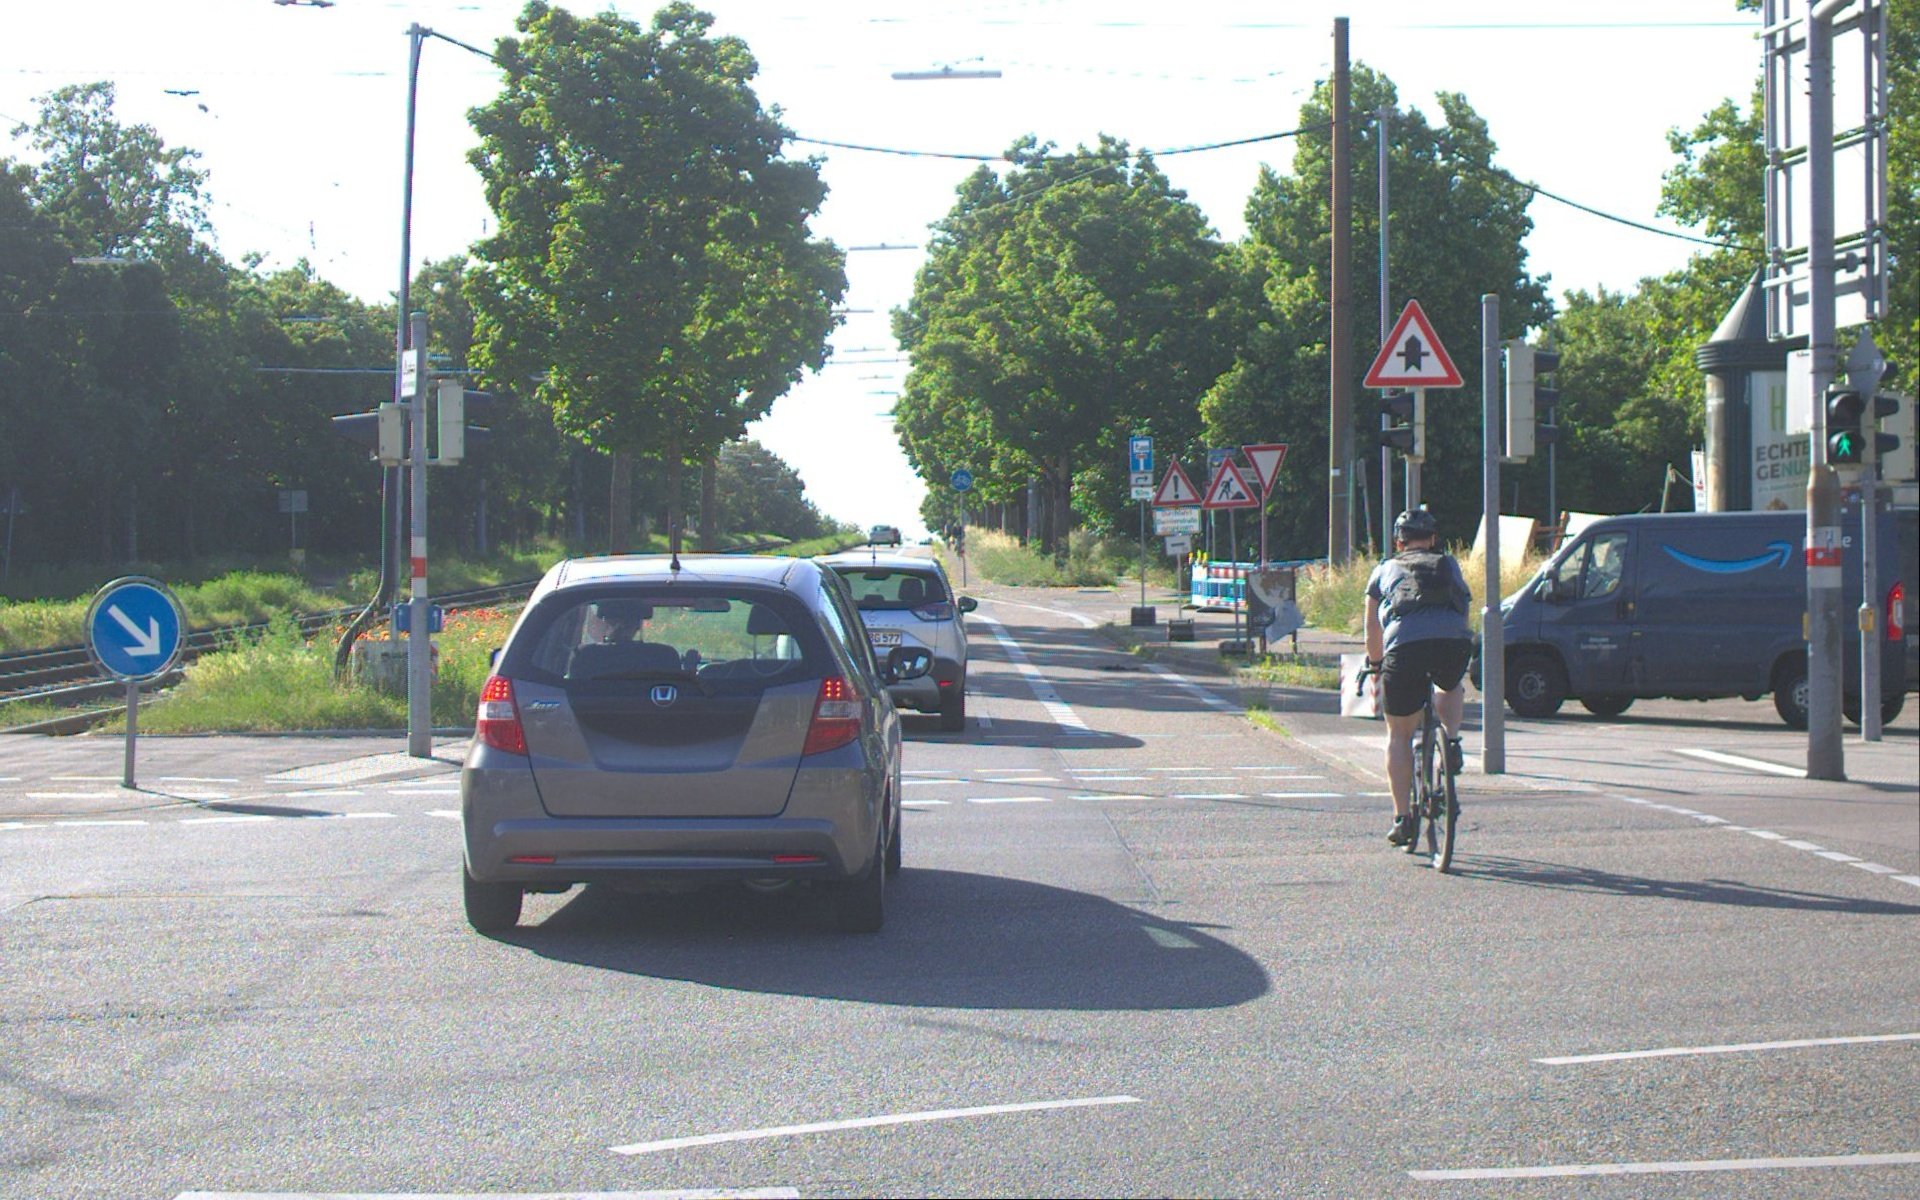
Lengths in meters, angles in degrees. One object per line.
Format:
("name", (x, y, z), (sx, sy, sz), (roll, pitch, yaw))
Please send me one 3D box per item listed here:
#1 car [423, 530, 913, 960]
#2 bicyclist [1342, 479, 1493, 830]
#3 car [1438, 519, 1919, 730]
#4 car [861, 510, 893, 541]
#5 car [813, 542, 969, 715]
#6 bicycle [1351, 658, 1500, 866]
("car", (-1.122, 0.506, 14.708), (1.671, 1.510, 3.674), (2, 2, 1))
("bicyclist", (2.237, 0.260, 16.887), (0.615, 1.674, 0.933), (0, 0, 1))
("car", (7.797, 0.219, 35.963), (5.112, 2.063, 2.127), (0, 0, 32))
("car", (-5.521, -4.963, 229.015), (1.993, 2.007, 4.000), (0, 1, 1))
("car", (-0.602, 0.242, 31.834), (1.351, 1.522, 3.123), (0, 0, 1))
("bicycle", (2.286, 0.770, 17.053), (0.524, 0.920, 2.089), (0, 0, 2))
